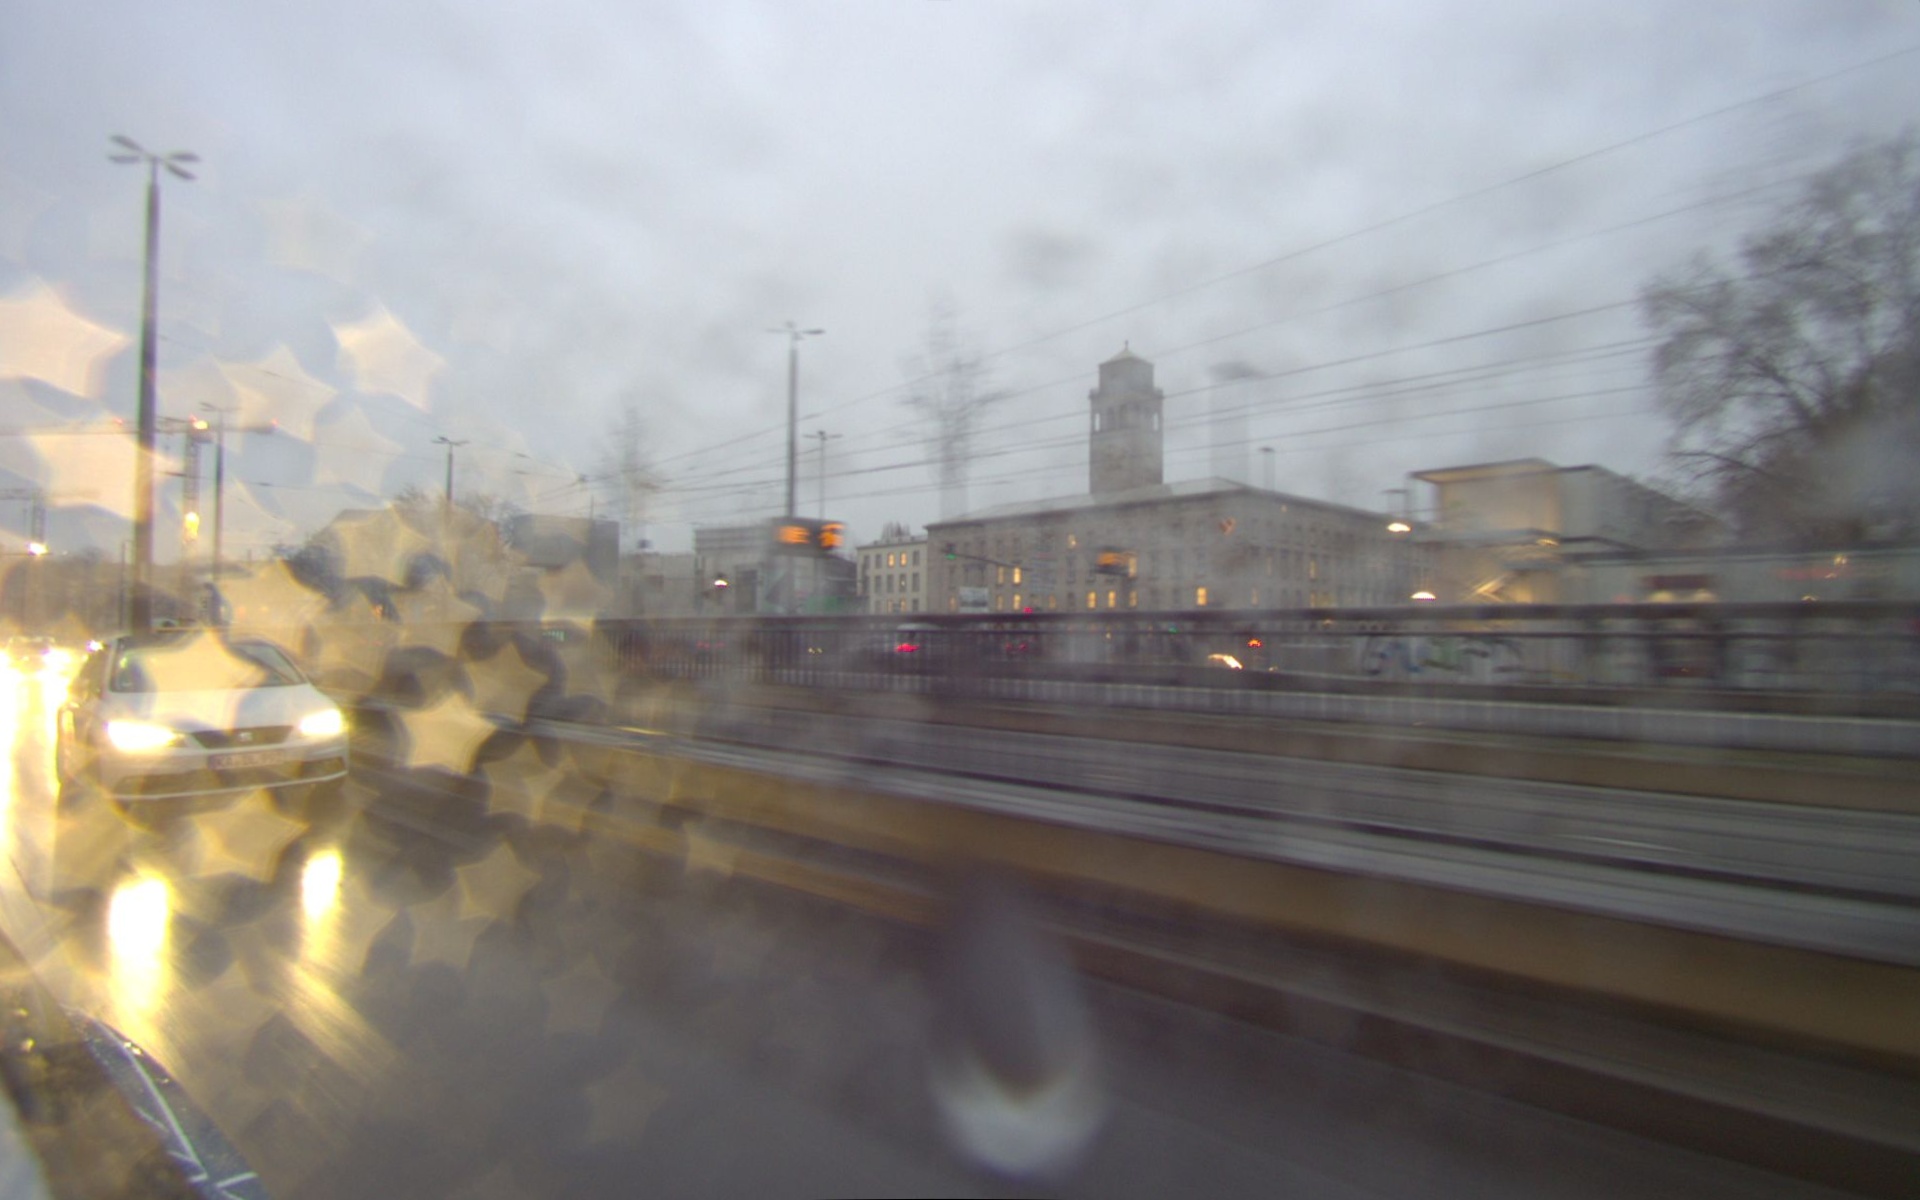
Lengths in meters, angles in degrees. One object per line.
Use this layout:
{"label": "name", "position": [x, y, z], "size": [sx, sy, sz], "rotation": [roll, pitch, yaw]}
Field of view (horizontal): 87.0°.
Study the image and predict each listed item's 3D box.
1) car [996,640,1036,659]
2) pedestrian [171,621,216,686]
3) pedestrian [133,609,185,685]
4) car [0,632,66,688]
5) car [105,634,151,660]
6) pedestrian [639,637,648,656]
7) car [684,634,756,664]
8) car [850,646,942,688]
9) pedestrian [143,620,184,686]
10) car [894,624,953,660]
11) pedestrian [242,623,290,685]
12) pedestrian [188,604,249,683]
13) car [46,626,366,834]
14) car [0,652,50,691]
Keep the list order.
{"label": "car", "position": [3.956, 3.460, 70.970], "size": [1.446, 1.284, 3.124], "rotation": [-2, -2, 33]}
{"label": "pedestrian", "position": [-20.686, 1.437, 27.313], "size": [0.743, 1.731, 0.650], "rotation": [-1, -2, 16]}
{"label": "pedestrian", "position": [-23.391, 1.357, 29.554], "size": [1.015, 2.162, 0.896], "rotation": [-2, -2, 32]}
{"label": "car", "position": [-30.470, 1.915, 32.807], "size": [4.002, 1.696, 1.971], "rotation": [-2, -2, 45]}
{"label": "car", "position": [-51.884, 2.936, 63.085], "size": [3.930, 1.541, 1.775], "rotation": [-3, -2, 44]}
{"label": "pedestrian", "position": [-27.190, 3.976, 86.866], "size": [0.646, 1.678, 0.743], "rotation": [0, -2, -11]}
{"label": "car", "position": [-13.674, 2.782, 57.605], "size": [4.228, 1.628, 1.855], "rotation": [-2, -2, 39]}
{"label": "car", "position": [-3.129, 3.205, 49.220], "size": [4.381, 1.887, 1.855], "rotation": [-2, -2, 39]}
{"label": "pedestrian", "position": [-21.425, 1.427, 27.237], "size": [0.656, 1.748, 0.607], "rotation": [0, -1, -11]}
{"label": "car", "position": [-2.841, 3.249, 79.862], "size": [4.373, 2.732, 2.002], "rotation": [1, -2, -43]}
{"label": "pedestrian", "position": [-19.915, 1.537, 29.062], "size": [0.758, 1.727, 0.856], "rotation": [-1, -2, 16]}
{"label": "pedestrian", "position": [-21.253, 1.242, 29.018], "size": [0.949, 2.224, 1.047], "rotation": [-1, -2, 16]}
{"label": "car", "position": [-7.141, 1.008, 9.413], "size": [4.141, 1.484, 1.789], "rotation": [-2, -2, 45]}
{"label": "car", "position": [-43.852, 3.306, 47.115], "size": [3.987, 1.674, 1.842], "rotation": [-2, -2, 43]}
